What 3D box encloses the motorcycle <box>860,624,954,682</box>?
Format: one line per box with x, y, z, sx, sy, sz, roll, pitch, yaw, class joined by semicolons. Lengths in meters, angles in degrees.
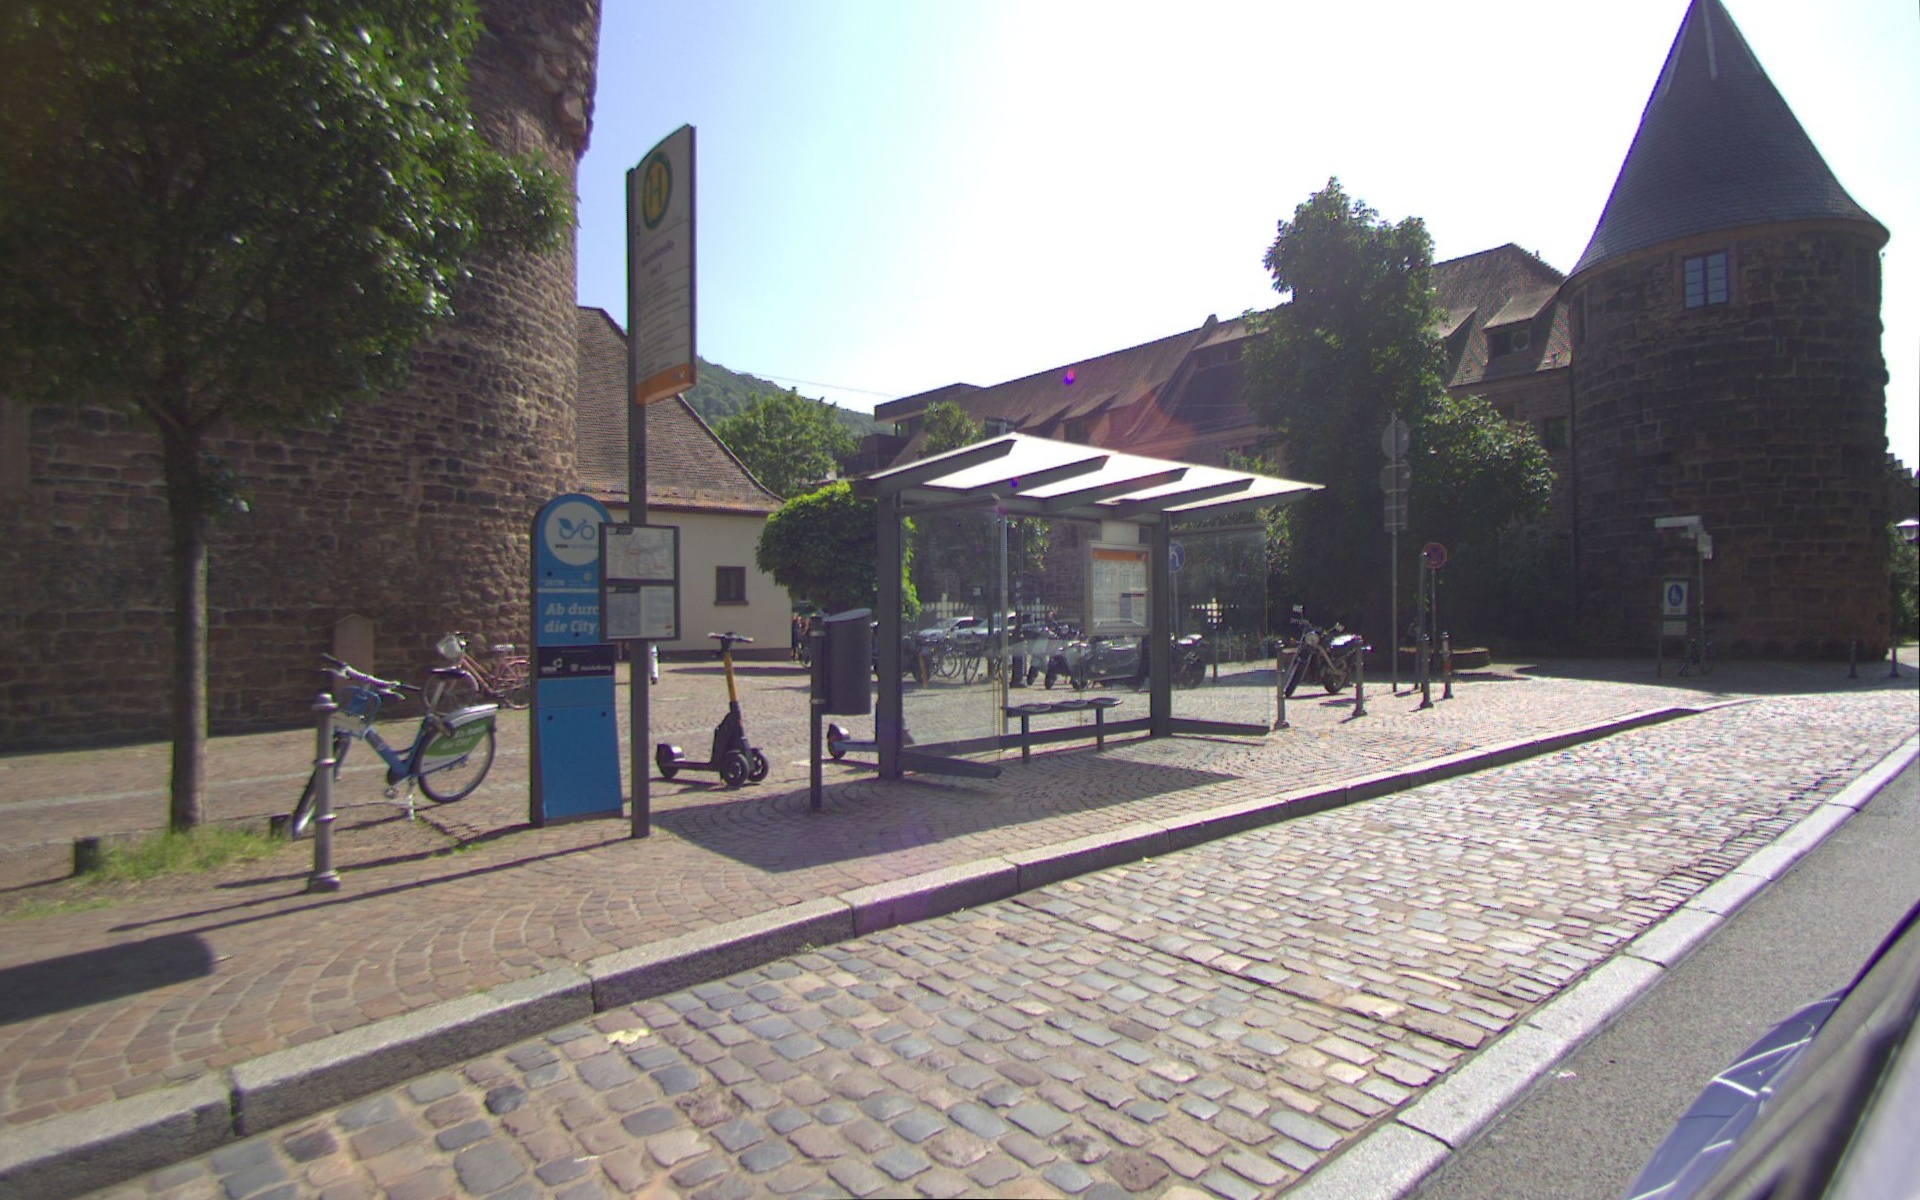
-1.174;1.128;21.922;0.861;1.162;2.343;0;-2;-37;motorcycle

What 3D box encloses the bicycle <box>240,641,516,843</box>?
-3.914;0.888;6.977;0.540;1.146;1.726;-1;-1;19;bicycle

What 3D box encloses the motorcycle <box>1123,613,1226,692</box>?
3.762;0.876;17.622;2.180;1.252;0.658;0;-1;-45;motorcycle

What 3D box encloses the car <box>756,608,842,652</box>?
-6.455;1.139;40.262;1.766;1.549;4.143;-2;1;-34;car

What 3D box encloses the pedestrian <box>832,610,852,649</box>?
-5.423;1.331;46.391;0.698;1.763;0.661;1;-1;-36;pedestrian

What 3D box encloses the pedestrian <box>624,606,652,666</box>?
-9.138;1.009;28.692;0.572;1.688;0.532;0;-2;-41;pedestrian

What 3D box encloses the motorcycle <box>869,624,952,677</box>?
-1.261;1.266;25.701;2.003;1.252;0.600;-1;-1;-14;motorcycle

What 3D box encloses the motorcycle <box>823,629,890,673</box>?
-2.806;1.379;27.614;0.597;1.175;1.887;-2;-3;43;motorcycle

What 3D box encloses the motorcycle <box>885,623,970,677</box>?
-0.802;1.231;25.175;2.003;1.252;0.600;-1;-1;-15;motorcycle

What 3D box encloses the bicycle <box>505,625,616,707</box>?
-6.271;1.005;16.008;0.540;1.167;1.915;-1;-1;18;bicycle

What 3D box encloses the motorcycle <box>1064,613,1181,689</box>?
2.922;0.877;18.068;2.230;1.252;0.740;0;-1;-39;motorcycle

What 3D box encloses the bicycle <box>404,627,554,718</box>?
-6.844;0.997;14.476;0.524;1.176;1.899;-2;-1;40;bicycle

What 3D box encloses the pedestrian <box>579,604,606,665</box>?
-10.399;0.961;28.615;0.524;1.688;0.582;0;-2;-41;pedestrian

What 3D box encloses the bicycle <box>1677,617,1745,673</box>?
16.821;0.979;22.651;1.812;1.167;0.844;0;-1;-41;bicycle

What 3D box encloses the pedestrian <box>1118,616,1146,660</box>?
5.783;1.275;34.077;0.660;1.439;0.662;-2;-1;-10;pedestrian

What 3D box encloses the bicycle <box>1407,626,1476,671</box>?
11.588;1.151;24.351;1.679;1.015;0.660;0;-2;-31;bicycle

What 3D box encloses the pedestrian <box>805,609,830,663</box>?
-4.792;1.203;34.122;0.594;1.763;0.661;1;-1;-36;pedestrian

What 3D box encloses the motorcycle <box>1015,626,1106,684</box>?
2.104;1.114;20.993;1.874;1.108;0.875;0;-1;-45;motorcycle

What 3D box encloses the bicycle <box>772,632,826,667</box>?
-4.873;1.510;30.745;0.421;1.027;1.687;-2;-3;43;bicycle

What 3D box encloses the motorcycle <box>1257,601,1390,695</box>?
5.527;0.702;15.288;2.486;1.310;0.883;1;-4;-45;motorcycle

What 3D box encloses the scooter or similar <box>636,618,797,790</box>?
-1.965;0.788;8.055;0.640;1.231;1.432;0;-3;-41;scooter or similar

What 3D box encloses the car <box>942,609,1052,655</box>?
1.599;1.291;42.651;4.346;1.636;1.998;-3;1;-38;car

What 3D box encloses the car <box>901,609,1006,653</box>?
-0.275;1.344;45.175;4.346;1.636;1.998;-3;1;-38;car

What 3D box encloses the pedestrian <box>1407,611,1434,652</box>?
14.304;0.976;31.423;0.661;1.247;0.774;-2;-1;29;pedestrian

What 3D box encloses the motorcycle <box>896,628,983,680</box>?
-0.477;1.274;24.127;1.983;1.159;0.742;0;-3;-38;motorcycle

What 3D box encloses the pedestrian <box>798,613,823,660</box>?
-5.432;1.316;36.783;0.661;1.650;0.661;1;-1;-36;pedestrian

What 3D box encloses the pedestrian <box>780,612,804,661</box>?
-6.055;1.298;36.448;0.661;1.763;0.661;1;-1;-36;pedestrian

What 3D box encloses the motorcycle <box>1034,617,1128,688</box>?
2.251;0.953;18.692;1.774;1.247;0.671;1;-3;-39;motorcycle

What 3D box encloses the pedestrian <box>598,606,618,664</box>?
-10.402;1.036;29.882;0.444;1.688;0.359;0;-2;-41;pedestrian

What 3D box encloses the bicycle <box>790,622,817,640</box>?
-8.625;1.691;55.764;1.604;0.933;0.582;-1;-1;40;bicycle

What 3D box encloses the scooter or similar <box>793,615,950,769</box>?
-0.812;0.785;8.937;0.640;1.231;1.432;0;-3;-41;scooter or similar

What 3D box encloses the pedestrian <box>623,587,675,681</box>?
-6.334;0.680;20.589;0.747;1.869;0.797;0;-2;-41;pedestrian

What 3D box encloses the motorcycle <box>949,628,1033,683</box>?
0.657;1.134;21.106;1.897;1.095;0.630;2;-3;-45;motorcycle

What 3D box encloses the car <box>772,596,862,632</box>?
-8.891;0.841;63.010;5.298;2.150;1.997;-1;0;-40;car
